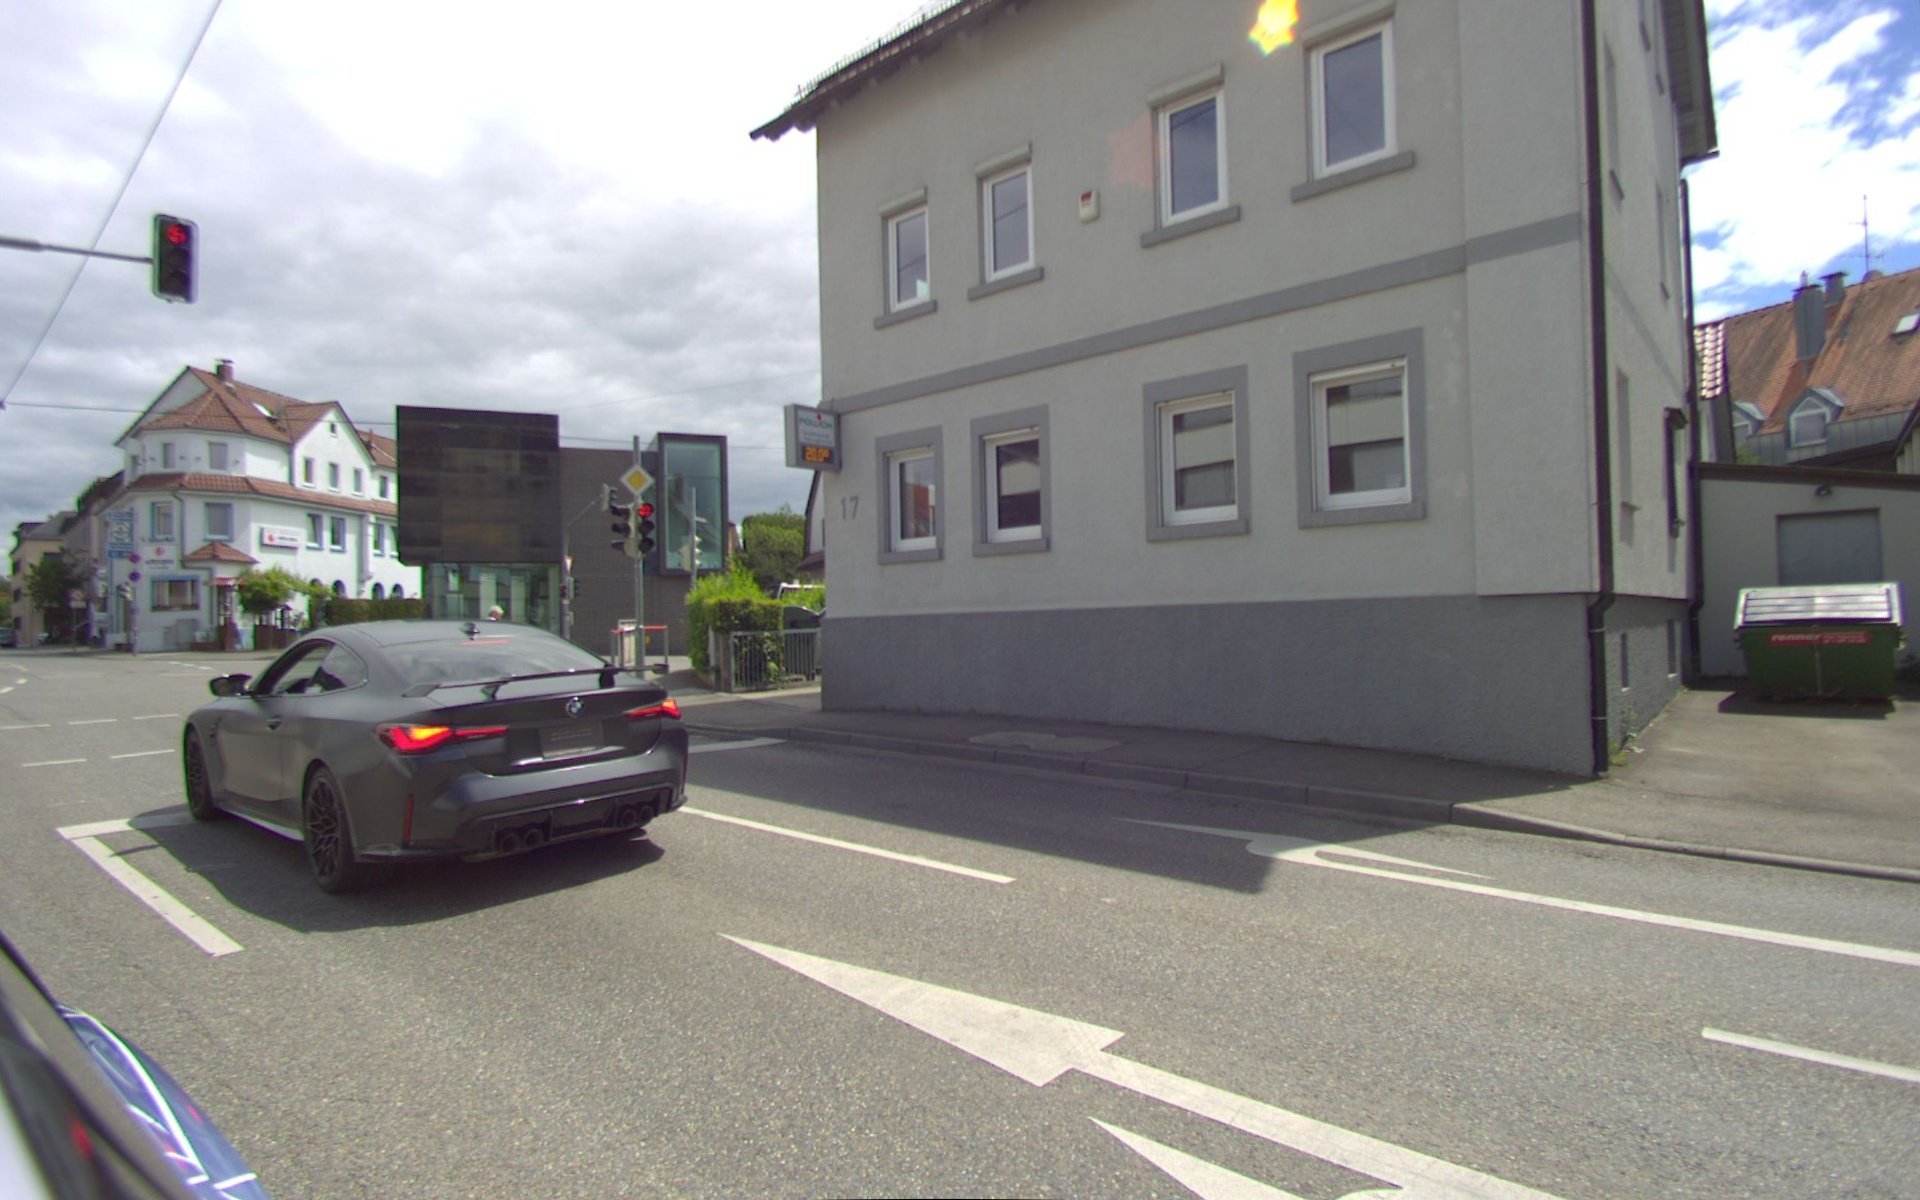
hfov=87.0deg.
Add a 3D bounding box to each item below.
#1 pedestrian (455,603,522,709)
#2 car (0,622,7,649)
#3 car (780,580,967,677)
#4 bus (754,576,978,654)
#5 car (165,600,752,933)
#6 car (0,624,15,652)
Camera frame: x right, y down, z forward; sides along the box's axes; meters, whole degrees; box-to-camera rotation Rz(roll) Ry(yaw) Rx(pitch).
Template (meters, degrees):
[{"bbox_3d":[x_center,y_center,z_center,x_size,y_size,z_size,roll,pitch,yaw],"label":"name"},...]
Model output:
[{"bbox_3d":[-7.635,0.885,16.386,0.859,1.650,0.839,1,-1,-34],"label":"pedestrian"},{"bbox_3d":[-74.467,2.735,77.351,3.998,2.029,1.972,-2,-2,42],"label":"car"},{"bbox_3d":[-1.995,0.632,22.628,3.998,1.962,1.972,-1,-2,41],"label":"car"},{"bbox_3d":[-3.936,0.634,42.988,9.031,3.083,2.796,0,-1,-24],"label":"bus"},{"bbox_3d":[-3.587,0.794,6.779,4.616,1.468,1.972,-1,-2,42],"label":"car"},{"bbox_3d":[-70.587,2.785,73.895,3.998,2.029,1.973,-2,-2,41],"label":"car"}]
